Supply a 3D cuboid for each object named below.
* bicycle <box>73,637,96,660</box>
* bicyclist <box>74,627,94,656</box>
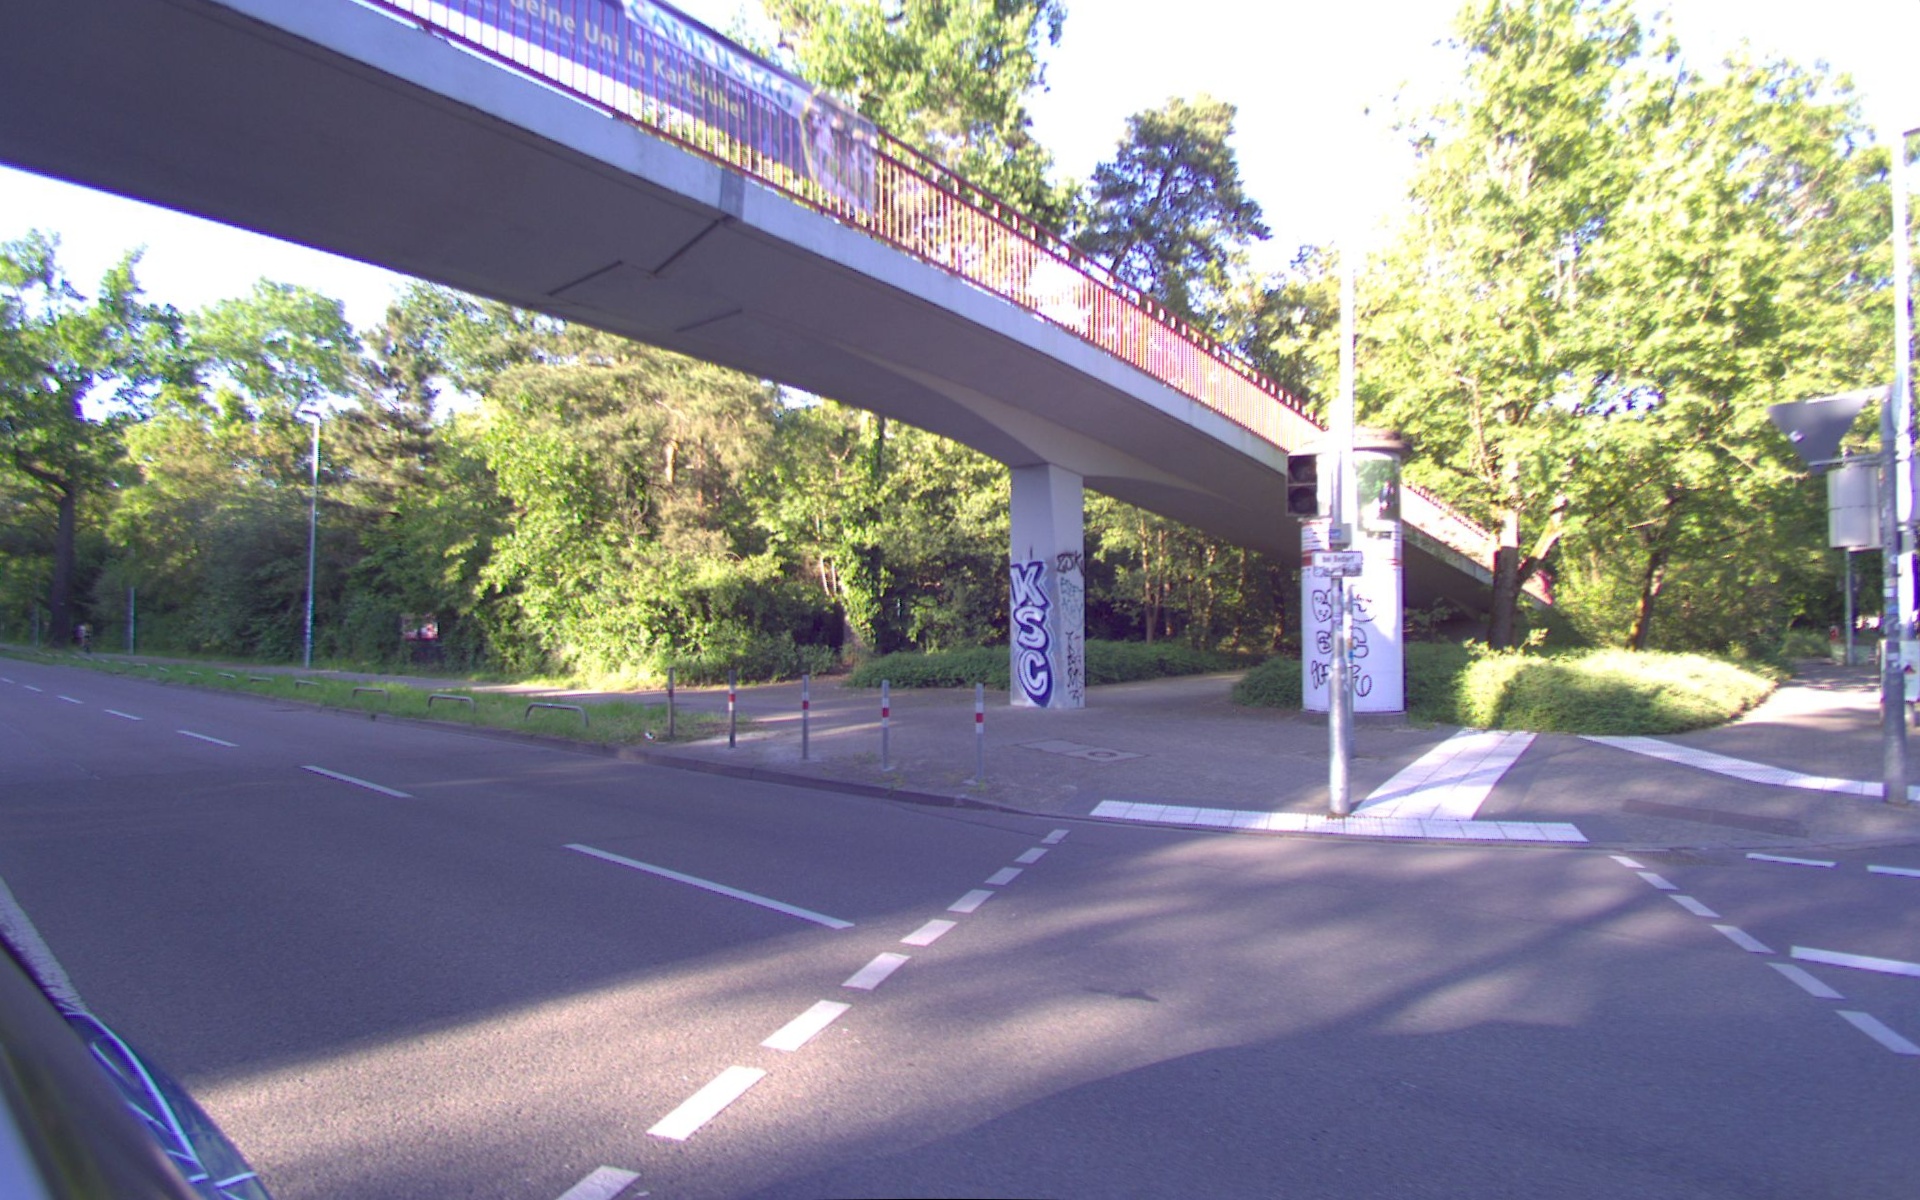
[{"bbox_3d":[-48.604,2.684,56.163,1.992,1.156,0.705,-1,0,41],"label":"bicycle"},{"bbox_3d":[-48.613,2.306,56.161,1.142,1.570,0.705,-1,0,41],"label":"bicyclist"}]
